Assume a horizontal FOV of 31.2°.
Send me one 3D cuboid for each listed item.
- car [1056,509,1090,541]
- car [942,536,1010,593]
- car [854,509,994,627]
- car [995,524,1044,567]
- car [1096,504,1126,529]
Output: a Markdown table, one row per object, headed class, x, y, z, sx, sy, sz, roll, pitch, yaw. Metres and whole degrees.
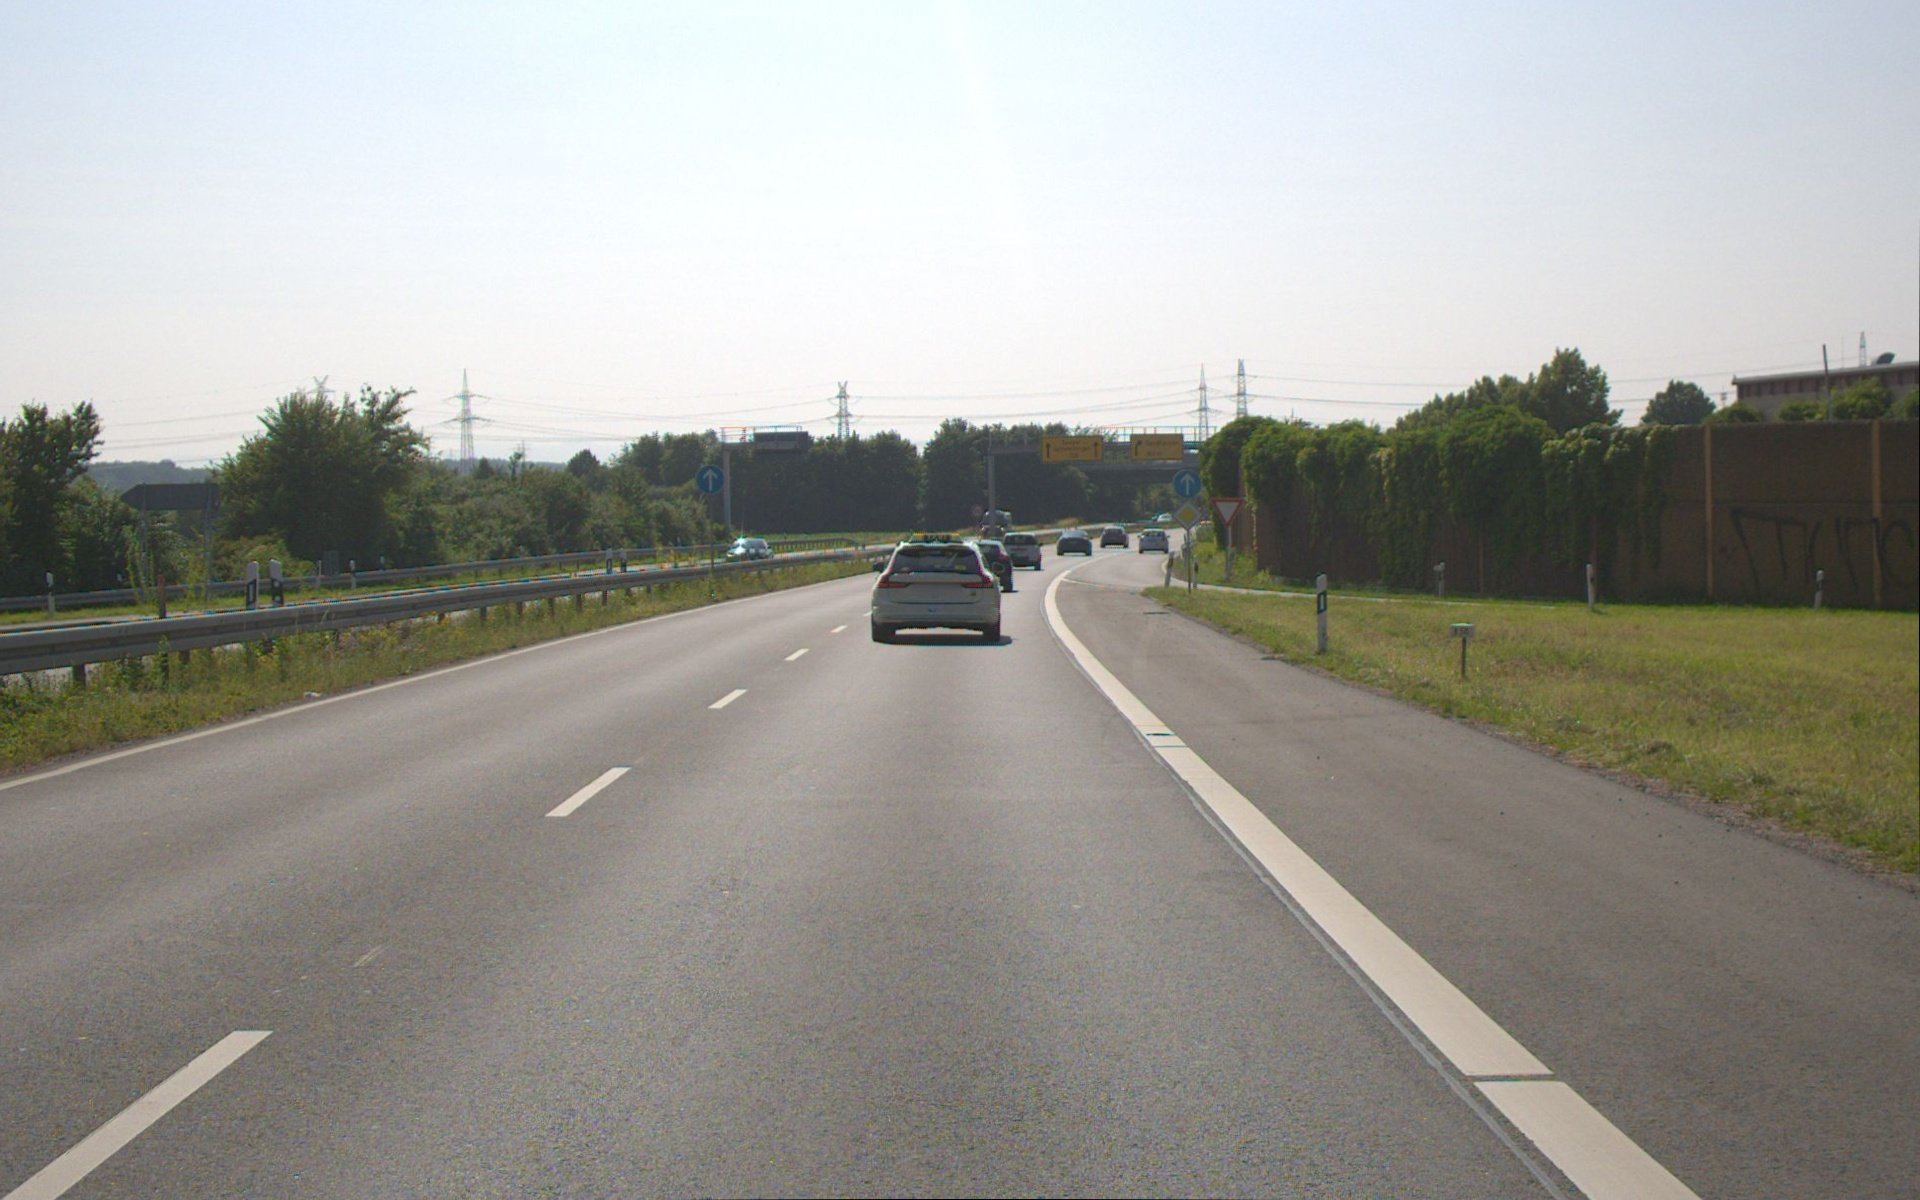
| class | x | y | z | sx | sy | sz | roll | pitch | yaw |
| --- | --- | --- | --- | --- | --- | --- | --- | --- | --- |
| car | 6.481 | -4.264 | 196.423 | 1.841 | 1.796 | 4.000 | 0 | 1 | 3 |
| car | 0.470 | -1.002 | 95.648 | 1.793 | 1.538 | 3.672 | 0 | 1 | 2 |
| car | -0.519 | -0.511 | 50.774 | 1.958 | 1.596 | 4.107 | 1 | 2 | 0 |
| car | 2.449 | -2.244 | 140.543 | 1.769 | 1.730 | 3.631 | 0 | 1 | 5 |
| car | 10.476 | -5.767 | 238.456 | 1.841 | 1.692 | 3.999 | 0 | 1 | 5 |
